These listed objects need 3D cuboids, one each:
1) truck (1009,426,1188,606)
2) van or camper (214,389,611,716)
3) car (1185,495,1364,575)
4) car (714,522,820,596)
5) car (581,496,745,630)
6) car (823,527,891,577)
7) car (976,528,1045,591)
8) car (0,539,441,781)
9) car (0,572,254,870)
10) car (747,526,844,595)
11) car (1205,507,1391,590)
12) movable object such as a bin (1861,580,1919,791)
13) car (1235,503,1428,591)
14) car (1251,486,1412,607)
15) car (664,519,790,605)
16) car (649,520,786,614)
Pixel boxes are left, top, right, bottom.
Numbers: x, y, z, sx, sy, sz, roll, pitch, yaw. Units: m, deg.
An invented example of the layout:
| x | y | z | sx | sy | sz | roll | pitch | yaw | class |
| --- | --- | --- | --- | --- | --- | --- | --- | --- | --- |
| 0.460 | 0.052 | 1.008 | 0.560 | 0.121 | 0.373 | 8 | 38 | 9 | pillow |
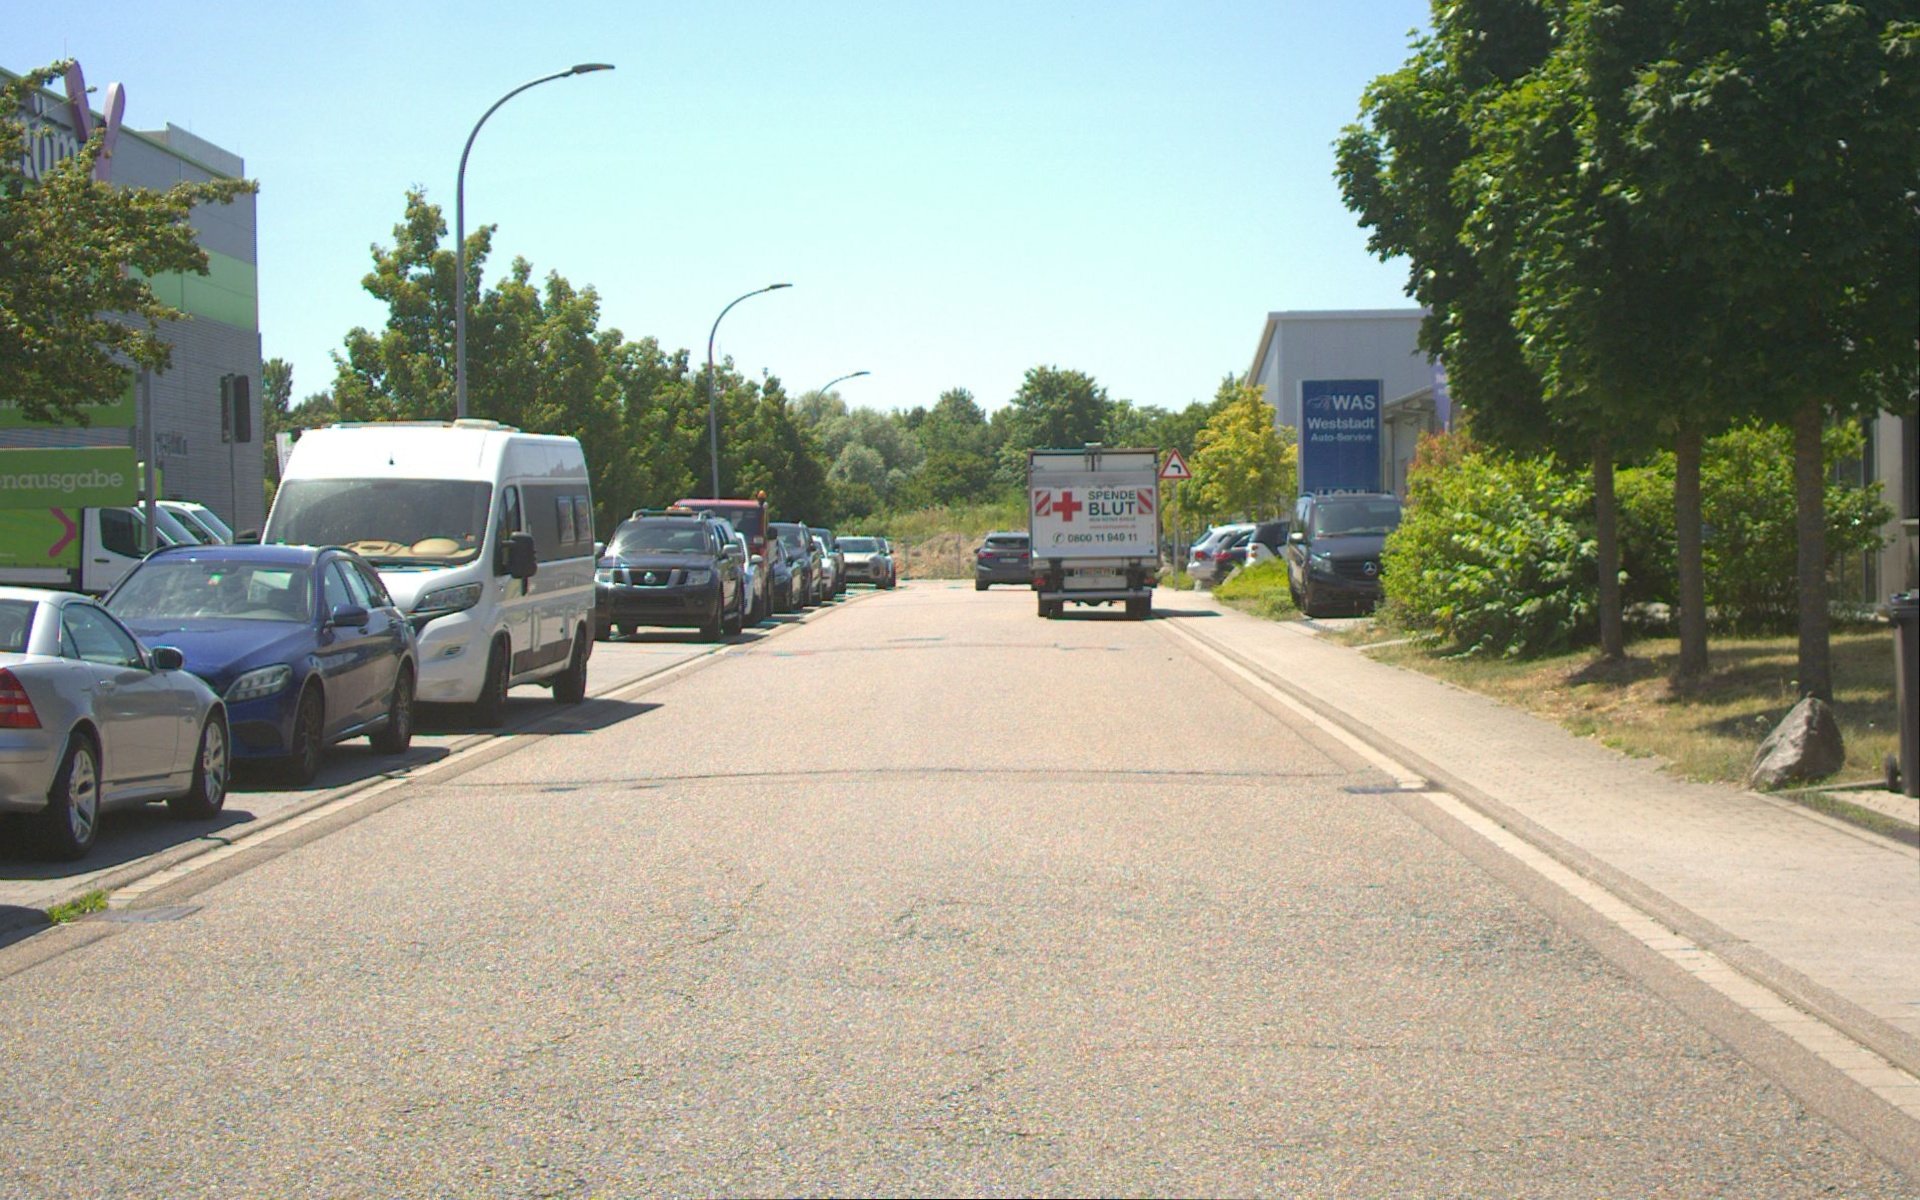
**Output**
| x | y | z | sx | sy | sz | roll | pitch | yaw | class |
| --- | --- | --- | --- | --- | --- | --- | --- | --- | --- |
| 2.404 | -1.465 | 60.899 | 2.933 | 2.963 | 6.419 | 1 | 1 | 1 | truck |
| -4.538 | -0.416 | 29.583 | 2.079 | 2.474 | 6.130 | 1 | 1 | 3 | van or camper |
| 7.172 | -1.487 | 78.667 | 3.875 | 1.744 | 1.752 | 1 | 1 | -1 | car |
| -4.041 | -0.895 | 72.438 | 1.799 | 1.482 | 4.252 | 0 | 2 | 3 | car |
| -4.240 | -0.573 | 49.634 | 1.799 | 1.842 | 4.252 | 0 | 2 | 3 | car |
| -3.193 | -1.509 | 107.173 | 1.799 | 1.482 | 4.252 | 0 | 2 | 3 | car |
| 1.360 | -1.104 | 92.583 | 1.789 | 1.618 | 3.809 | 1 | 1 | 1 | car |
| -4.780 | 0.322 | 22.678 | 1.799 | 1.444 | 4.252 | 0 | 1 | 4 | car |
| -4.785 | 0.525 | 17.303 | 1.478 | 1.293 | 3.899 | 0 | 1 | 3 | car |
| -3.708 | -0.914 | 78.086 | 1.799 | 1.482 | 4.252 | 0 | 2 | 3 | car |
| 7.455 | -1.138 | 76.018 | 3.875 | 1.744 | 1.752 | 1 | 1 | -1 | car |
| 5.012 | 0.425 | 17.713 | 0.531 | 1.049 | 0.845 | -1 | 1 | 3 | movable object such as a bin |
| 7.944 | -1.135 | 73.729 | 3.875 | 1.744 | 1.752 | 2 | 1 | -1 | car |
| 5.828 | -0.856 | 54.366 | 1.993 | 1.797 | 4.140 | -1 | 1 | -1 | car |
| -4.203 | -0.720 | 62.597 | 1.799 | 1.482 | 4.252 | 0 | 2 | 3 | car |
| -4.001 | -0.586 | 57.357 | 1.799 | 1.482 | 4.252 | 0 | 2 | 3 | car |
